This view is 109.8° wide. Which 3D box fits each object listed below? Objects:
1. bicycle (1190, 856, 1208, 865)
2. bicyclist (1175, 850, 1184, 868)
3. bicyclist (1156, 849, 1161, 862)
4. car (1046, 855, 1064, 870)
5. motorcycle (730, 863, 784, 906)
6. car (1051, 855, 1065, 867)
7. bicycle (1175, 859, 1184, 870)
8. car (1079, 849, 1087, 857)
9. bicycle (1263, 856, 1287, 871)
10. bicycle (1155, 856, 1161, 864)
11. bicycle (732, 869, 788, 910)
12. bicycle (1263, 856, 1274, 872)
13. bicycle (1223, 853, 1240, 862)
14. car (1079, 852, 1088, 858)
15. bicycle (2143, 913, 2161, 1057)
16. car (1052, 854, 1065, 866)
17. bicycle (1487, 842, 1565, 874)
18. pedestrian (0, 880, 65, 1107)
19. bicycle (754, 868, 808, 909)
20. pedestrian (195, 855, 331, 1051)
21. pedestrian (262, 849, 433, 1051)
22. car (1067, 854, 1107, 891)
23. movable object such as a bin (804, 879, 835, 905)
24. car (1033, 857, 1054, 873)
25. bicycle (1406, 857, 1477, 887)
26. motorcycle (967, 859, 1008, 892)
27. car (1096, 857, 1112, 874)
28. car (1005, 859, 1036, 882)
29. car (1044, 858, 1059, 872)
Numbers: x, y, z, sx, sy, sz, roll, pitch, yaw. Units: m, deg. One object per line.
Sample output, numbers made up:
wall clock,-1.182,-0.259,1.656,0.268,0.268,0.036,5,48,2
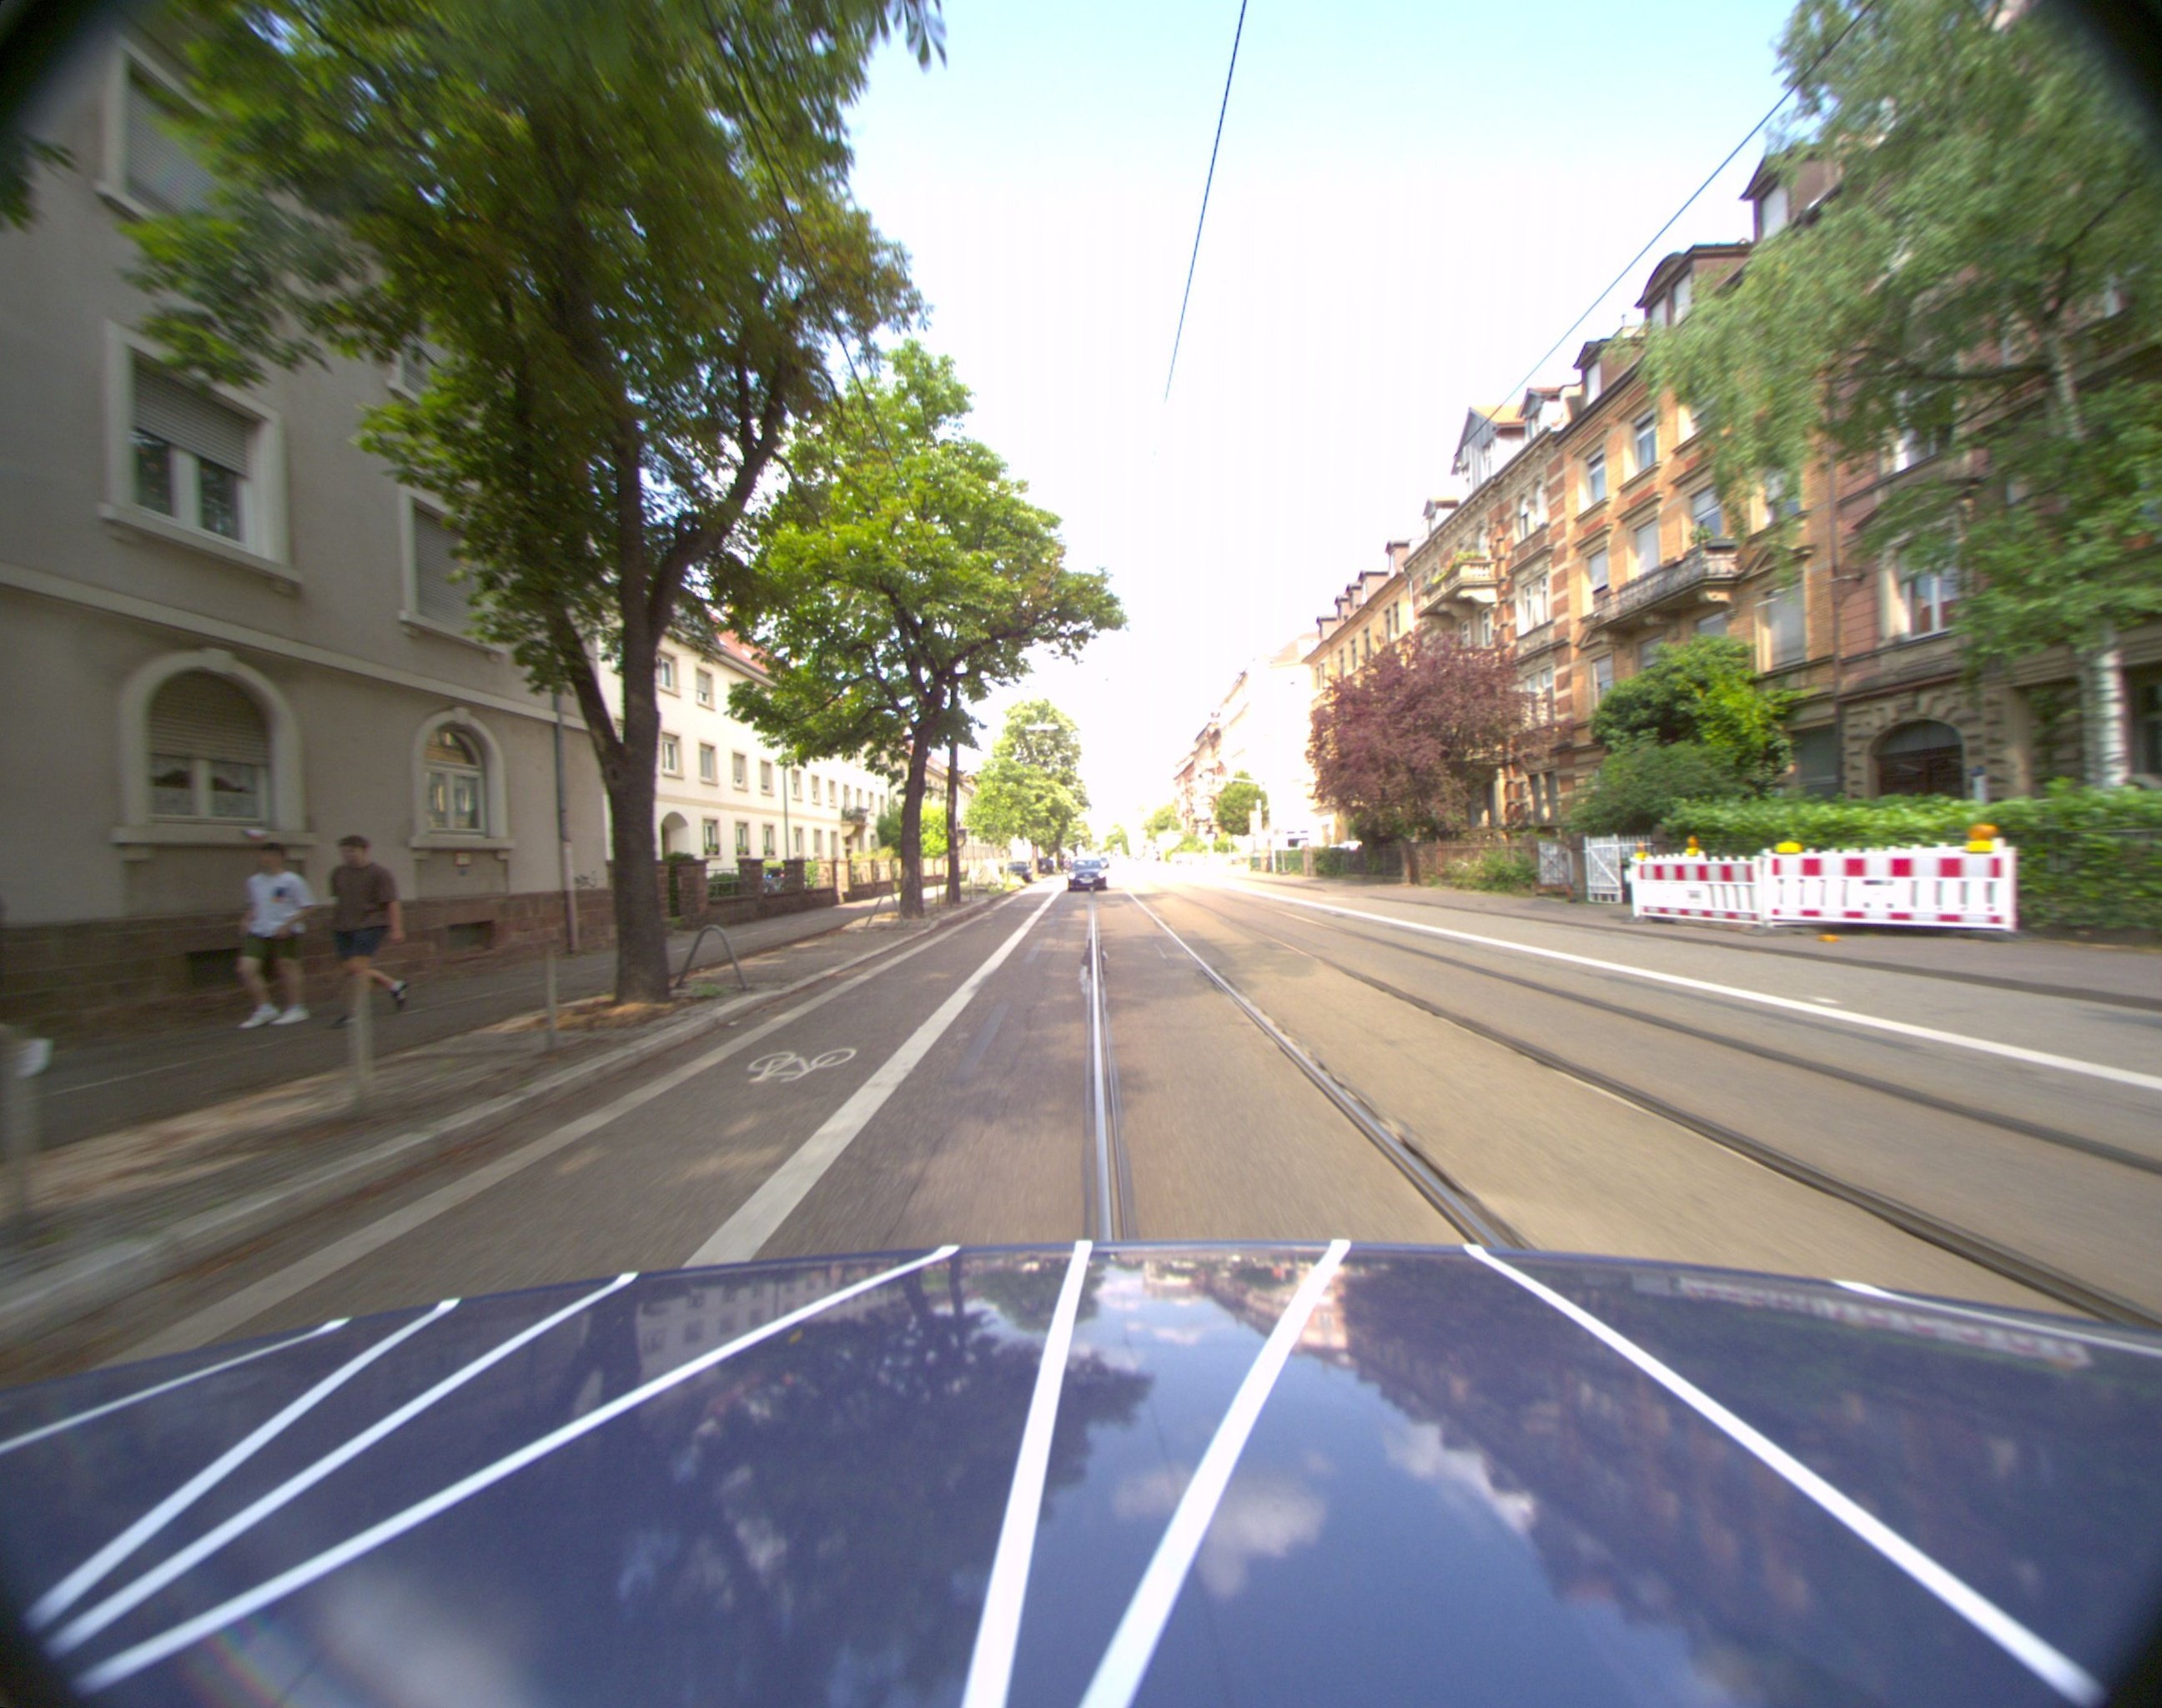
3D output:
bicycle,12.392,0.636,79.886,1.750,0.936,0.484,0,1,25
bicyclist,8.229,0.384,63.540,0.614,1.490,0.743,-1,1,13
bicyclist,9.045,0.192,88.897,0.477,1.490,0.743,0,1,-2
car,-2.773,0.861,80.435,1.693,1.537,3.617,-2,0,0
motorcycle,-11.875,1.076,27.954,0.752,1.406,2.598,-3,1,1
car,-3.133,0.910,102.170,1.693,1.537,3.460,-2,0,0
bicycle,8.260,0.868,63.665,0.607,0.936,1.756,0,1,13
car,0.358,-0.200,176.849,1.693,1.831,5.028,-2,0,-1
bicycle,12.462,0.632,48.758,1.431,0.935,0.401,0,-2,3
bicycle,9.043,0.663,88.974,0.483,0.936,1.754,0,1,-2
bicycle,-10.644,1.151,25.312,0.654,1.184,2.598,-3,1,1
bicycle,11.583,0.600,46.986,0.400,0.935,1.473,0,-2,3
bicycle,15.891,0.369,80.288,1.753,0.936,0.483,0,1,0
car,0.536,0.219,161.521,1.693,1.380,4.000,-2,0,0
bicycle,7.639,0.896,4.320,0.570,0.984,1.918,-2,0,3
car,-3.253,0.824,108.737,1.693,1.537,3.460,-2,0,0
bicycle,14.170,0.124,24.216,2.133,0.931,0.586,-2,0,0
pedestrian,-8.140,1.028,5.341,0.582,1.630,0.976,-2,1,1
bicycle,-9.891,1.111,25.191,0.654,1.184,2.598,-3,1,1
pedestrian,-8.085,0.941,7.542,0.506,1.842,0.687,-2,1,1
pedestrian,-7.286,0.907,7.596,0.755,1.878,0.886,-2,1,1
car,0.280,0.819,35.588,1.693,1.568,4.156,-2,0,0
movable object such as a bin,-9.675,1.405,28.110,0.830,0.911,0.752,-2,0,0
car,-3.451,0.974,70.829,1.693,1.380,4.000,-2,0,0
bicycle,12.342,0.624,26.062,2.133,0.931,0.586,-2,0,0
motorcycle,-4.432,0.996,35.951,0.812,1.485,2.065,-3,1,-43
car,2.697,1.342,89.678,1.715,1.718,3.736,-3,1,1
car,-4.055,1.090,51.161,1.693,1.380,4.000,-2,0,0
car,-3.548,1.302,92.063,1.693,1.537,3.775,-2,0,0
